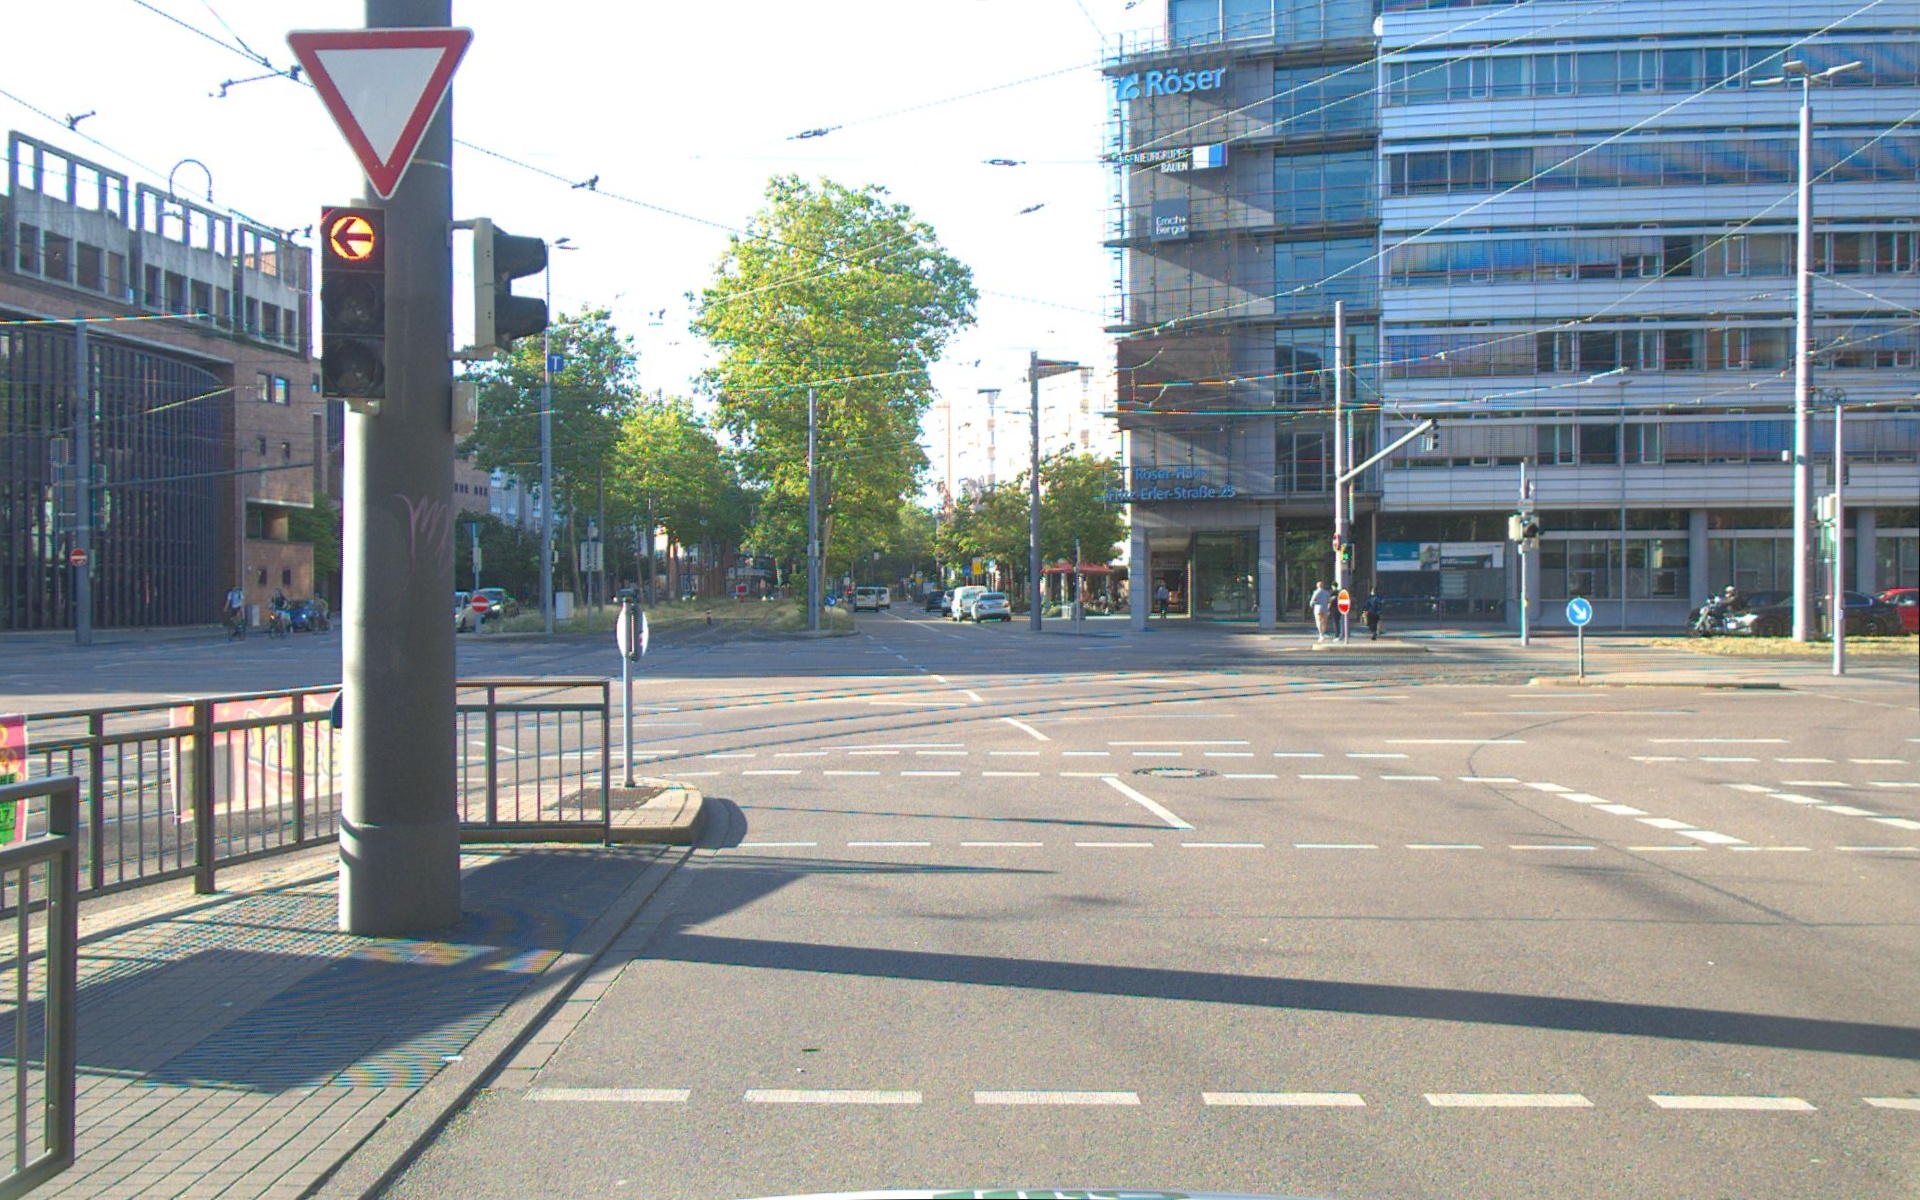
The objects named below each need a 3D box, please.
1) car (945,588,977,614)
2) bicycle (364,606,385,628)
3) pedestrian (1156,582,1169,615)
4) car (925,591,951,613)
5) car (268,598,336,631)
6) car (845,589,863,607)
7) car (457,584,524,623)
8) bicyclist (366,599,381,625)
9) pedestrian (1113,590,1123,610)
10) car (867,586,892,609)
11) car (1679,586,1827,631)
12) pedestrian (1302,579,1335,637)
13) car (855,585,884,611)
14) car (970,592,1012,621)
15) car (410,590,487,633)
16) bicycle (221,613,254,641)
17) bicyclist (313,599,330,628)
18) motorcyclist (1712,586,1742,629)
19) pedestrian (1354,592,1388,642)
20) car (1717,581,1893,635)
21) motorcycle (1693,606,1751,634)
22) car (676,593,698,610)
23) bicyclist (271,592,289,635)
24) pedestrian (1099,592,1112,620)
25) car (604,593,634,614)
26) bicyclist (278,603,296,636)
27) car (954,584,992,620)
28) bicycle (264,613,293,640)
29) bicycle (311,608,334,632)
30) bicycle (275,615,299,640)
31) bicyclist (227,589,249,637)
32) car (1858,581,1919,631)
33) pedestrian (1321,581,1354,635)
[{"bbox_3d":[0.036,0.058,105.202,1.953,1.646,3.999,-1,0,-1],"label":"car"},{"bbox_3d":[-27.591,0.801,77.945,0.482,0.980,1.486,-1,0,-1],"label":"bicycle"},{"bbox_3d":[9.491,-0.075,77.571,0.599,1.534,0.579,-1,0,6],"label":"pedestrian"},{"bbox_3d":[-1.679,0.116,126.626,1.953,1.646,3.999,-1,0,-1],"label":"car"},{"bbox_3d":[-30.586,0.639,76.950,1.633,1.461,3.999,-1,0,-2],"label":"car"},{"bbox_3d":[-12.623,-0.273,196.817,1.953,2.049,3.999,-1,0,-1],"label":"car"},{"bbox_3d":[-21.121,0.135,74.586,1.953,1.668,3.999,-1,0,-2],"label":"car"},{"bbox_3d":[-27.584,0.567,77.784,0.495,1.232,0.581,-1,0,-1],"label":"bicyclist"},{"bbox_3d":[10.512,-0.026,110.167,0.565,1.311,0.910,-1,0,-1],"label":"pedestrian"},{"bbox_3d":[-6.945,-0.215,142.989,1.953,1.945,3.999,-1,0,-1],"label":"car"},{"bbox_3d":[26.364,0.269,55.064,4.070,1.423,1.786,-1,0,4],"label":"car"},{"bbox_3d":[11.358,0.238,52.414,0.846,1.820,0.872,-1,0,1],"label":"pedestrian"},{"bbox_3d":[-6.825,-0.177,125.196,1.921,1.881,5.329,-1,0,-1],"label":"car"},{"bbox_3d":[1.536,0.327,82.780,1.953,1.400,3.999,-1,0,-1],"label":"car"},{"bbox_3d":[-20.667,0.436,67.027,1.953,1.668,3.999,-1,0,-2],"label":"car"},{"bbox_3d":[-26.872,1.006,61.500,0.531,0.980,1.586,-1,0,-1],"label":"bicycle"},{"bbox_3d":[-27.098,0.562,70.175,0.495,1.199,0.581,-1,0,-1],"label":"bicyclist"},{"bbox_3d":[23.097,0.220,49.795,0.697,1.298,0.460,-1,0,3],"label":"motorcyclist"},{"bbox_3d":[13.228,0.541,53.257,0.928,1.591,0.897,-1,0,6],"label":"pedestrian"},{"bbox_3d":[23.988,0.222,47.037,4.070,1.423,1.786,-1,0,4],"label":"car"},{"bbox_3d":[22.940,0.601,49.807,1.535,0.824,0.467,-1,0,3],"label":"motorcycle"},{"bbox_3d":[-31.397,0.144,190.235,1.953,1.847,3.999,-1,0,-1],"label":"car"},{"bbox_3d":[-25.781,0.515,62.726,0.449,1.631,0.581,-1,0,-1],"label":"bicyclist"},{"bbox_3d":[9.232,0.384,105.134,0.729,1.744,0.612,-1,0,-1],"label":"pedestrian"},{"bbox_3d":[-31.414,0.290,152.634,1.953,1.847,3.999,-1,0,-1],"label":"car"},{"bbox_3d":[-27.323,0.802,67.184,0.495,1.327,0.581,-1,0,-1],"label":"bicyclist"},{"bbox_3d":[0.687,0.105,89.566,1.953,1.892,3.999,-1,0,-1],"label":"car"},{"bbox_3d":[-25.776,0.980,62.548,0.463,0.980,1.575,-1,0,-1],"label":"bicycle"},{"bbox_3d":[-27.115,0.837,70.354,0.442,0.980,1.347,-1,0,-1],"label":"bicycle"},{"bbox_3d":[-27.329,1.103,67.175,0.458,0.980,1.320,-1,0,-1],"label":"bicycle"},{"bbox_3d":[-26.895,0.493,61.606,0.525,1.761,0.581,-1,0,-1],"label":"bicyclist"},{"bbox_3d":[29.343,0.120,49.518,3.903,1.418,1.786,-2,0,4],"label":"car"},{"bbox_3d":[12.184,0.263,53.406,0.893,1.714,1.035,-1,0,4],"label":"pedestrian"}]
